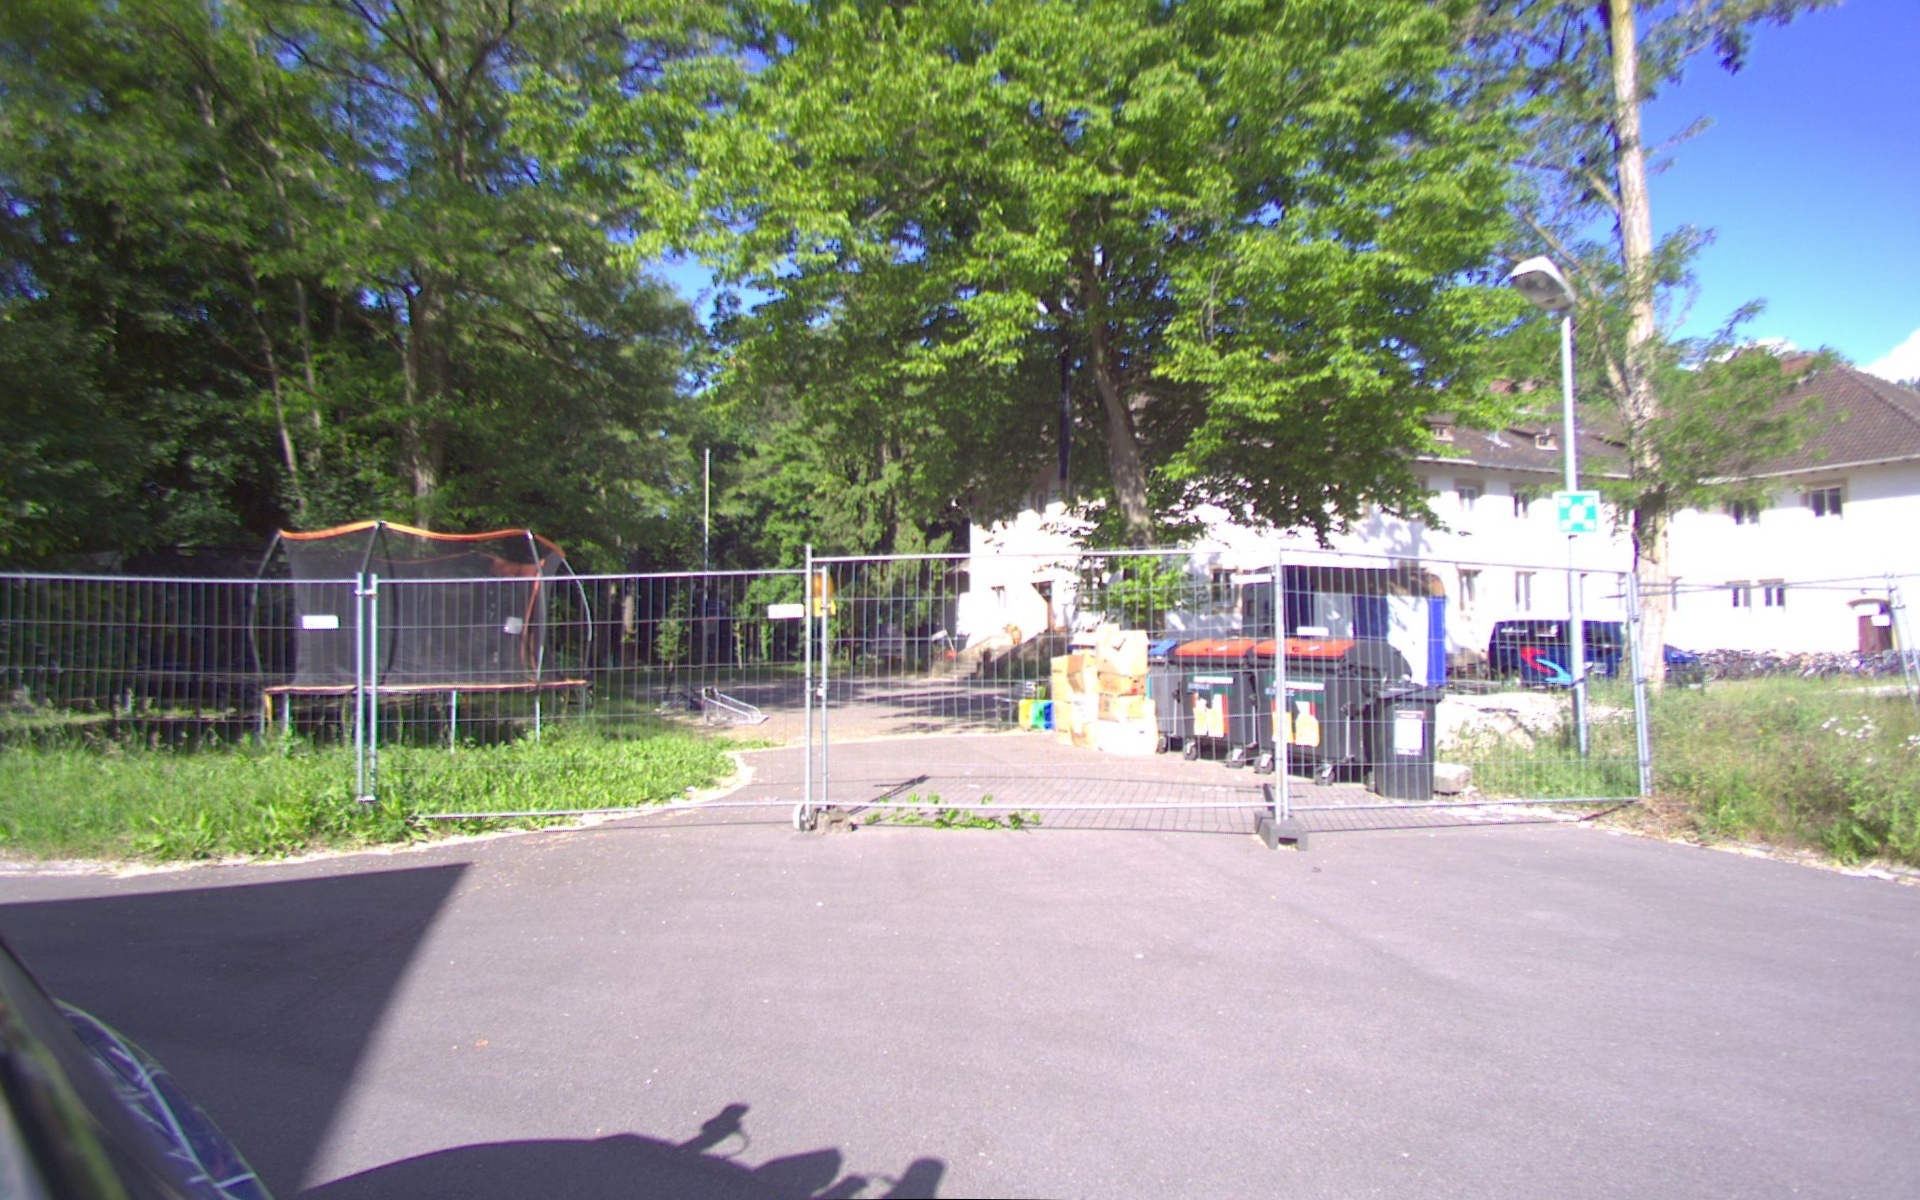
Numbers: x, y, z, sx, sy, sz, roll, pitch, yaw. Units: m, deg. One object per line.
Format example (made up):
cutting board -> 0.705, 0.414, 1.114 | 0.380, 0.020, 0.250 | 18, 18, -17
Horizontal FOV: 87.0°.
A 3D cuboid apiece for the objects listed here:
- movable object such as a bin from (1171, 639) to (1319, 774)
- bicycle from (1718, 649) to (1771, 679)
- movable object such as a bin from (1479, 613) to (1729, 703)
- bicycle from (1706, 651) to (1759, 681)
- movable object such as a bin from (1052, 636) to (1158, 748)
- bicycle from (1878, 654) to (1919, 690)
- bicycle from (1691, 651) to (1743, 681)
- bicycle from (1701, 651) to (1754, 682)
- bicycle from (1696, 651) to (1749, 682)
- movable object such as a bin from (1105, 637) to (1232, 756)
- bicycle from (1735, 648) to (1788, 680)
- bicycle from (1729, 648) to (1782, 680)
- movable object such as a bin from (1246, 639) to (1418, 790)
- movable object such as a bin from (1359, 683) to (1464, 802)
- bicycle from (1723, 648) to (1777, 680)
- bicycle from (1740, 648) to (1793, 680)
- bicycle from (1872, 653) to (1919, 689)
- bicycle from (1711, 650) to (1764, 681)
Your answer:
movable object such as a bin -> 3.252, 1.183, 11.666 | 1.014, 1.437, 1.295 | 1, -3, -24
bicycle -> 26.529, 2.175, 34.256 | 0.257, 0.992, 1.440 | 1, -3, -23
movable object such as a bin -> 15.673, 1.411, 24.986 | 1.899, 1.985, 4.903 | 1, -3, -24
bicycle -> 25.941, 2.198, 34.004 | 0.257, 0.992, 1.440 | 1, -3, -23
movable object such as a bin -> 1.970, 1.234, 13.893 | 1.038, 1.449, 1.091 | 1, -3, -20
bicycle -> 26.425, 1.982, 28.062 | 0.257, 0.992, 1.440 | 1, -3, -23
bicycle -> 25.172, 2.184, 33.675 | 0.257, 0.992, 1.440 | 1, -3, -23
bicycle -> 25.691, 2.217, 33.895 | 0.257, 0.992, 1.440 | 1, -3, -23
bicycle -> 25.432, 2.214, 33.788 | 0.257, 0.992, 1.440 | 1, -3, -23
movable object such as a bin -> 2.674, 1.216, 13.099 | 1.014, 1.437, 1.295 | 1, -3, -24
bicycle -> 27.353, 2.178, 34.566 | 0.257, 1.052, 1.440 | 1, -3, -23
bicycle -> 27.075, 2.182, 34.454 | 0.257, 1.052, 1.440 | 1, -3, -23
movable object such as a bin -> 3.810, 1.130, 10.459 | 1.014, 1.437, 1.295 | 1, -3, -26
movable object such as a bin -> 4.107, 1.282, 9.243 | 0.595, 1.015, 0.644 | 0, -3, -7
bicycle -> 26.809, 2.161, 34.365 | 0.257, 1.052, 1.440 | 1, -3, -23
bicycle -> 27.618, 2.193, 34.681 | 0.257, 1.052, 1.440 | 1, -3, -23
bicycle -> 26.161, 1.950, 27.950 | 0.257, 0.992, 1.440 | 1, -3, -23
bicycle -> 26.196, 2.199, 34.115 | 0.257, 0.992, 1.440 | 1, -3, -23
